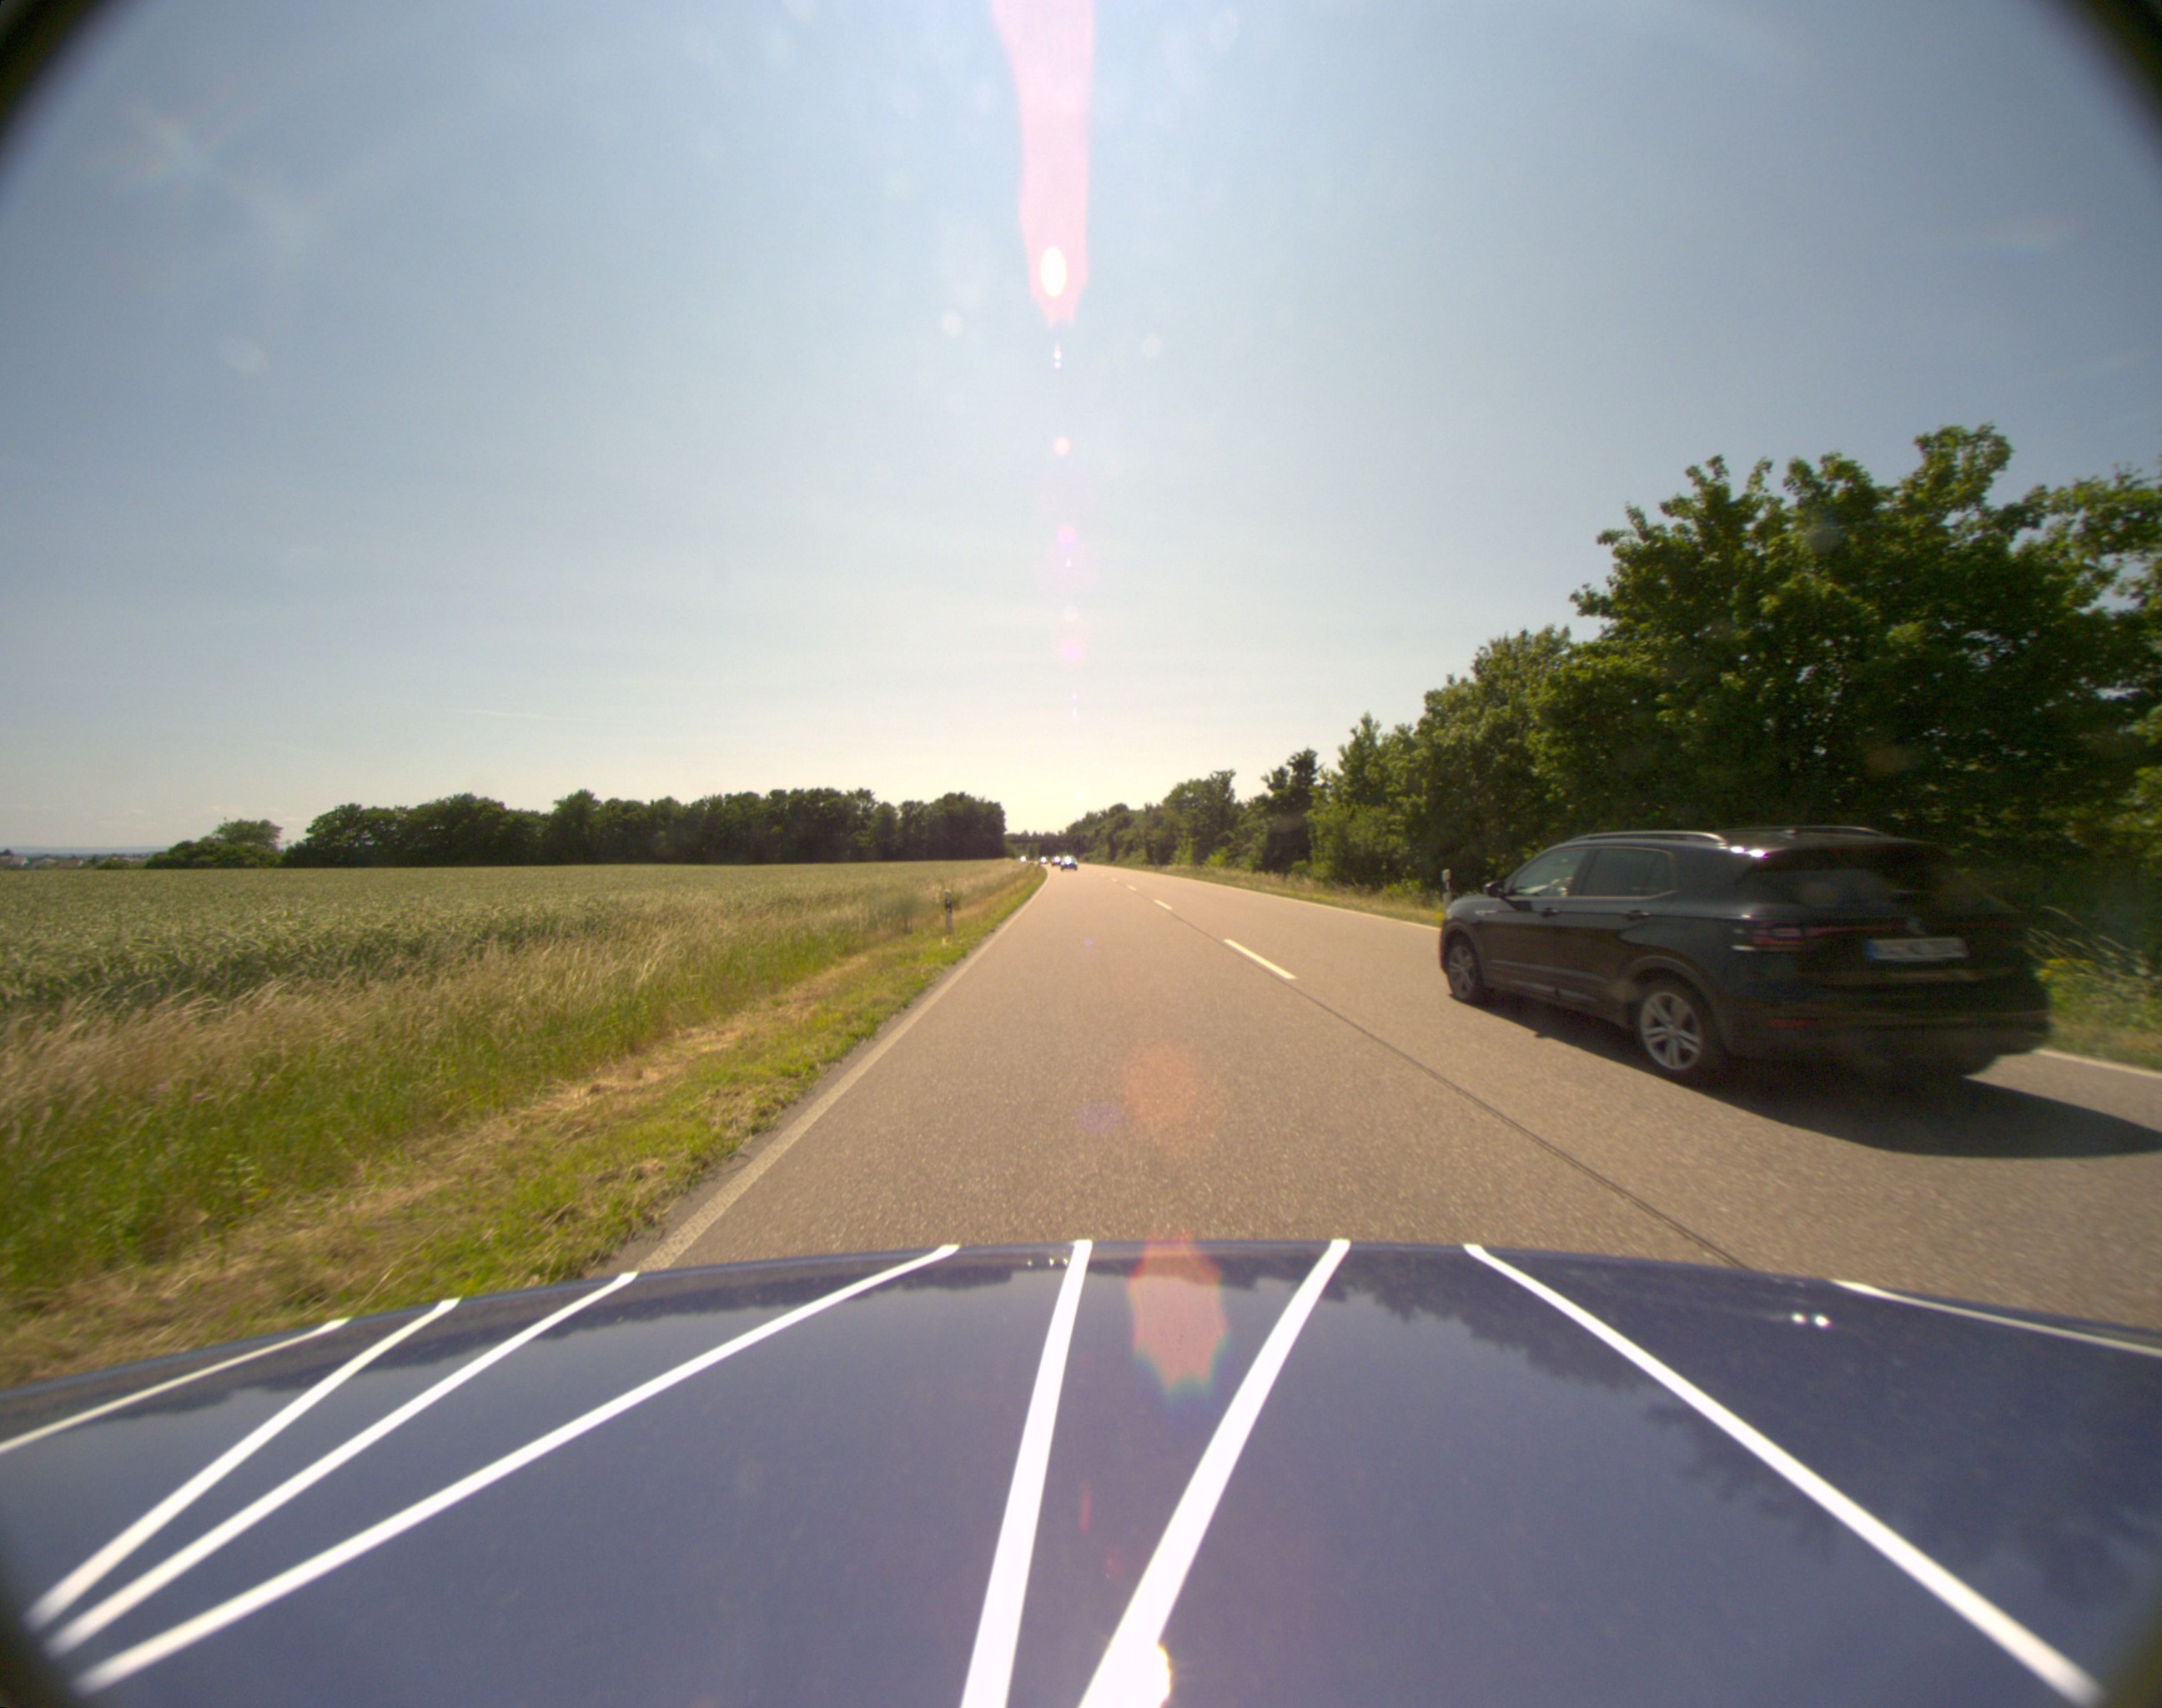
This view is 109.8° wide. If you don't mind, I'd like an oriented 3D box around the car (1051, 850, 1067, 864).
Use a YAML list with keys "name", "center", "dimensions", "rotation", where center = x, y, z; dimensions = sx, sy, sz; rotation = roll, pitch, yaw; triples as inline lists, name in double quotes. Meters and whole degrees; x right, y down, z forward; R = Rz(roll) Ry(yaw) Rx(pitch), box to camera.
- name: "car"
  center: [-3.445, 0.483, 119.301]
  dimensions: [2.000, 2.002, 3.997]
  rotation: [-2, 0, -7]

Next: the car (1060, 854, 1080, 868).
- name: "car"
  center: [-1.214, 0.772, 82.785]
  dimensions: [1.694, 1.431, 3.708]
  rotation: [-2, 0, -7]

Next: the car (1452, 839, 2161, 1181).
- name: "car"
  center: [4.392, 0.726, 5.390]
  dimensions: [1.703, 1.557, 3.671]
  rotation: [-2, 0, 0]

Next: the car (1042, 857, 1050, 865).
- name: "car"
  center: [-7.486, 1.521, 163.588]
  dimensions: [1.554, 1.659, 3.998]
  rotation: [-3, 1, -3]
